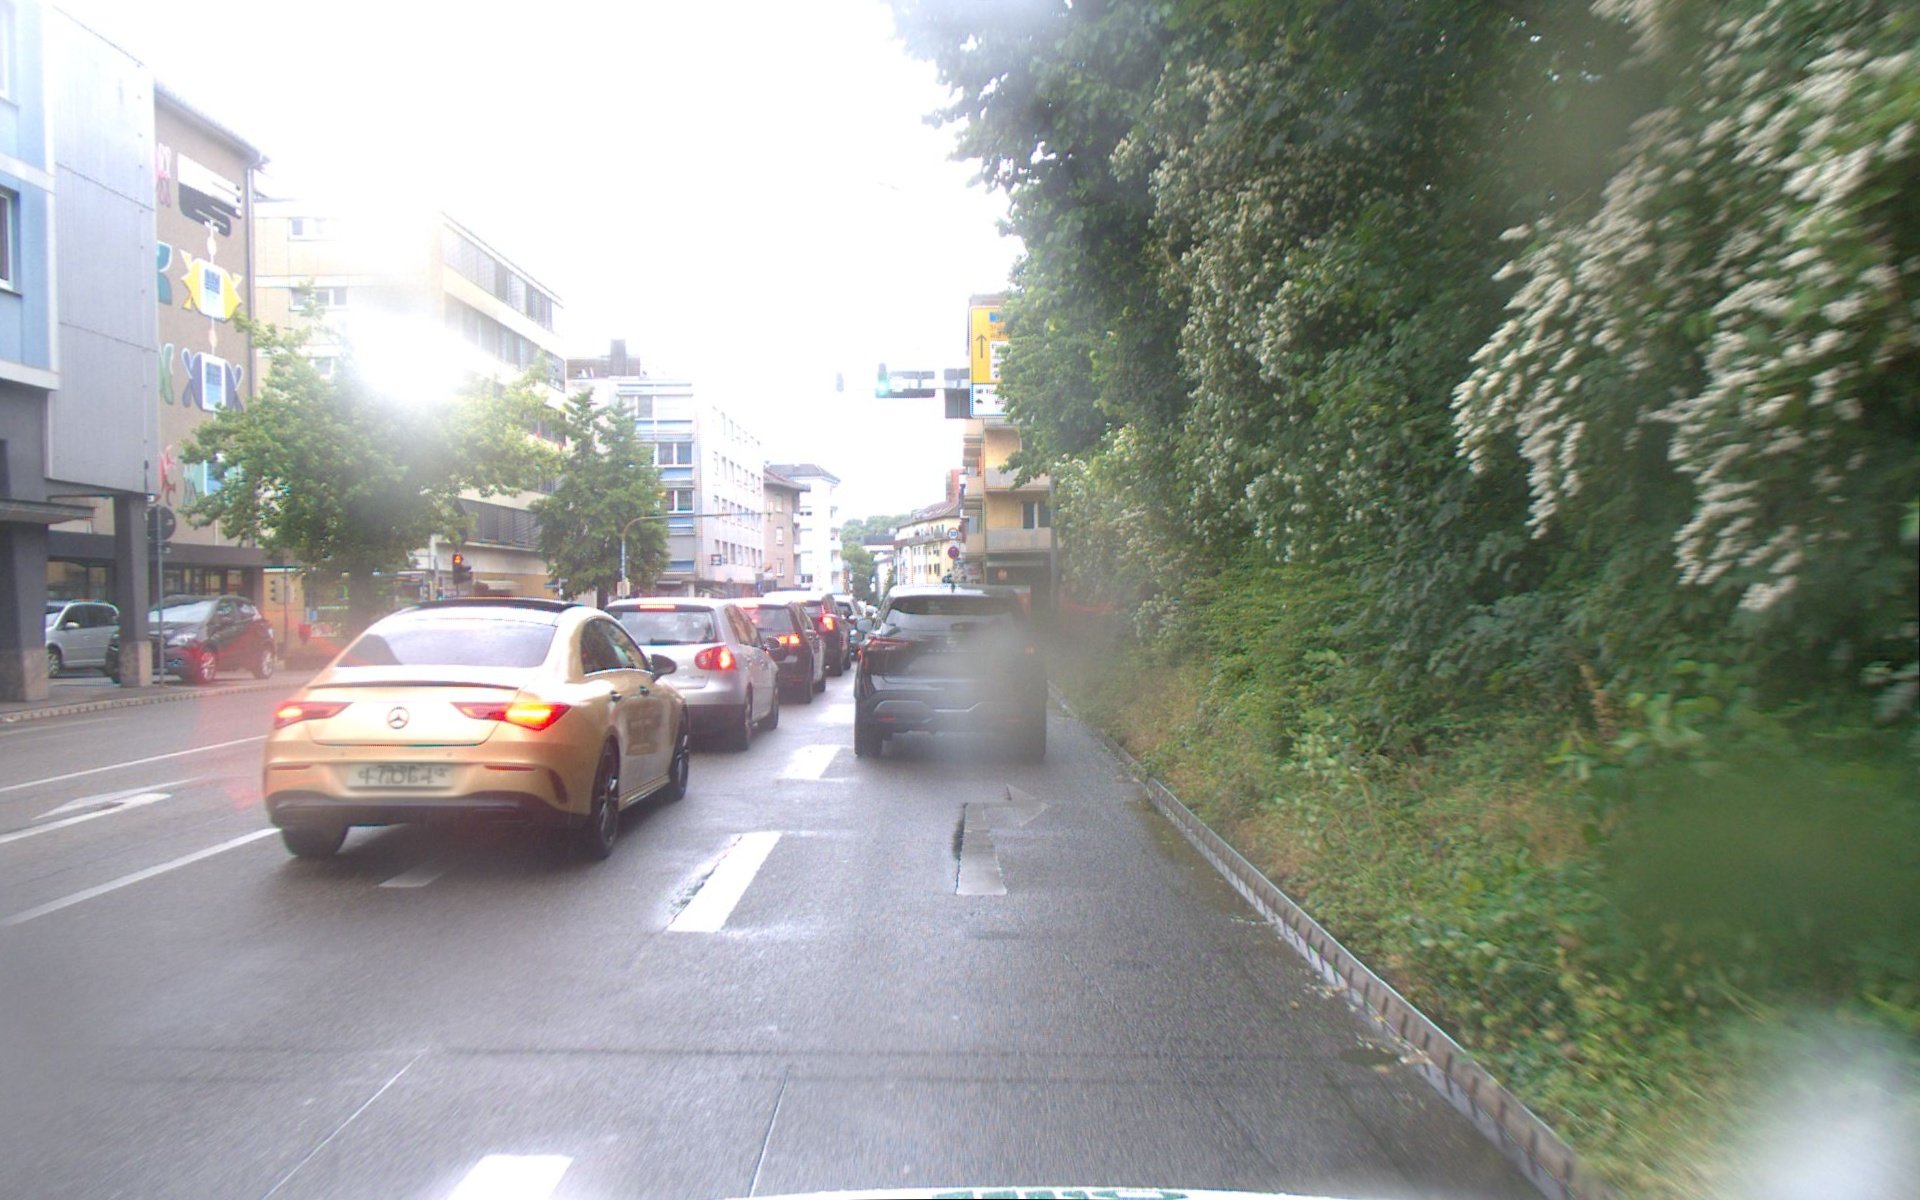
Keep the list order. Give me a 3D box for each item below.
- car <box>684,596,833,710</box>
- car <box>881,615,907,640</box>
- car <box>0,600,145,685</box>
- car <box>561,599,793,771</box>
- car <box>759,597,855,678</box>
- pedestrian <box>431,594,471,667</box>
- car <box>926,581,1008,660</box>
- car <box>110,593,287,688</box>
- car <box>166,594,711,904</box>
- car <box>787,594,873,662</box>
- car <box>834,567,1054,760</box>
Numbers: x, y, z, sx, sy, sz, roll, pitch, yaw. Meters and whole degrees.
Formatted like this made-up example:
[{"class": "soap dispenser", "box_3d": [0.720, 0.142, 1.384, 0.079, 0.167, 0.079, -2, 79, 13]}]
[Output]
[{"class": "car", "box_3d": [-2.863, 0.706, 24.252, 1.720, 1.478, 3.999, -1, 0, -1]}, {"class": "car", "box_3d": [-5.826, 2.374, 145.810, 1.953, 2.049, 4.000, -3, 0, 1]}, {"class": "car", "box_3d": [-19.575, 0.867, 35.541, 1.953, 1.684, 4.509, -1, 0, -1]}, {"class": "car", "box_3d": [-2.776, 0.769, 17.099, 1.708, 1.513, 4.161, -2, 0, -1]}, {"class": "car", "box_3d": [-2.899, 0.673, 32.052, 1.580, 1.445, 3.965, 0, 0, -2]}, {"class": "pedestrian", "box_3d": [-14.648, 0.865, 47.606, 0.923, 2.049, 0.884, -2, 0, -10]}, {"class": "car", "box_3d": [0.240, 0.533, 45.851, 1.951, 2.049, 4.002, -1, 0, 4]}, {"class": "car", "box_3d": [-14.760, 0.729, 32.310, 1.508, 1.736, 4.287, 0, 0, 0]}, {"class": "car", "box_3d": [-2.950, 0.738, 10.567, 2.024, 1.489, 4.586, -1, 0, 0]}, {"class": "car", "box_3d": [-3.007, 0.613, 38.968, 1.731, 1.469, 3.999, -1, 0, -1]}, {"class": "car", "box_3d": [-0.194, 0.545, 16.463, 1.920, 1.681, 3.999, 0, 0, -2]}]
